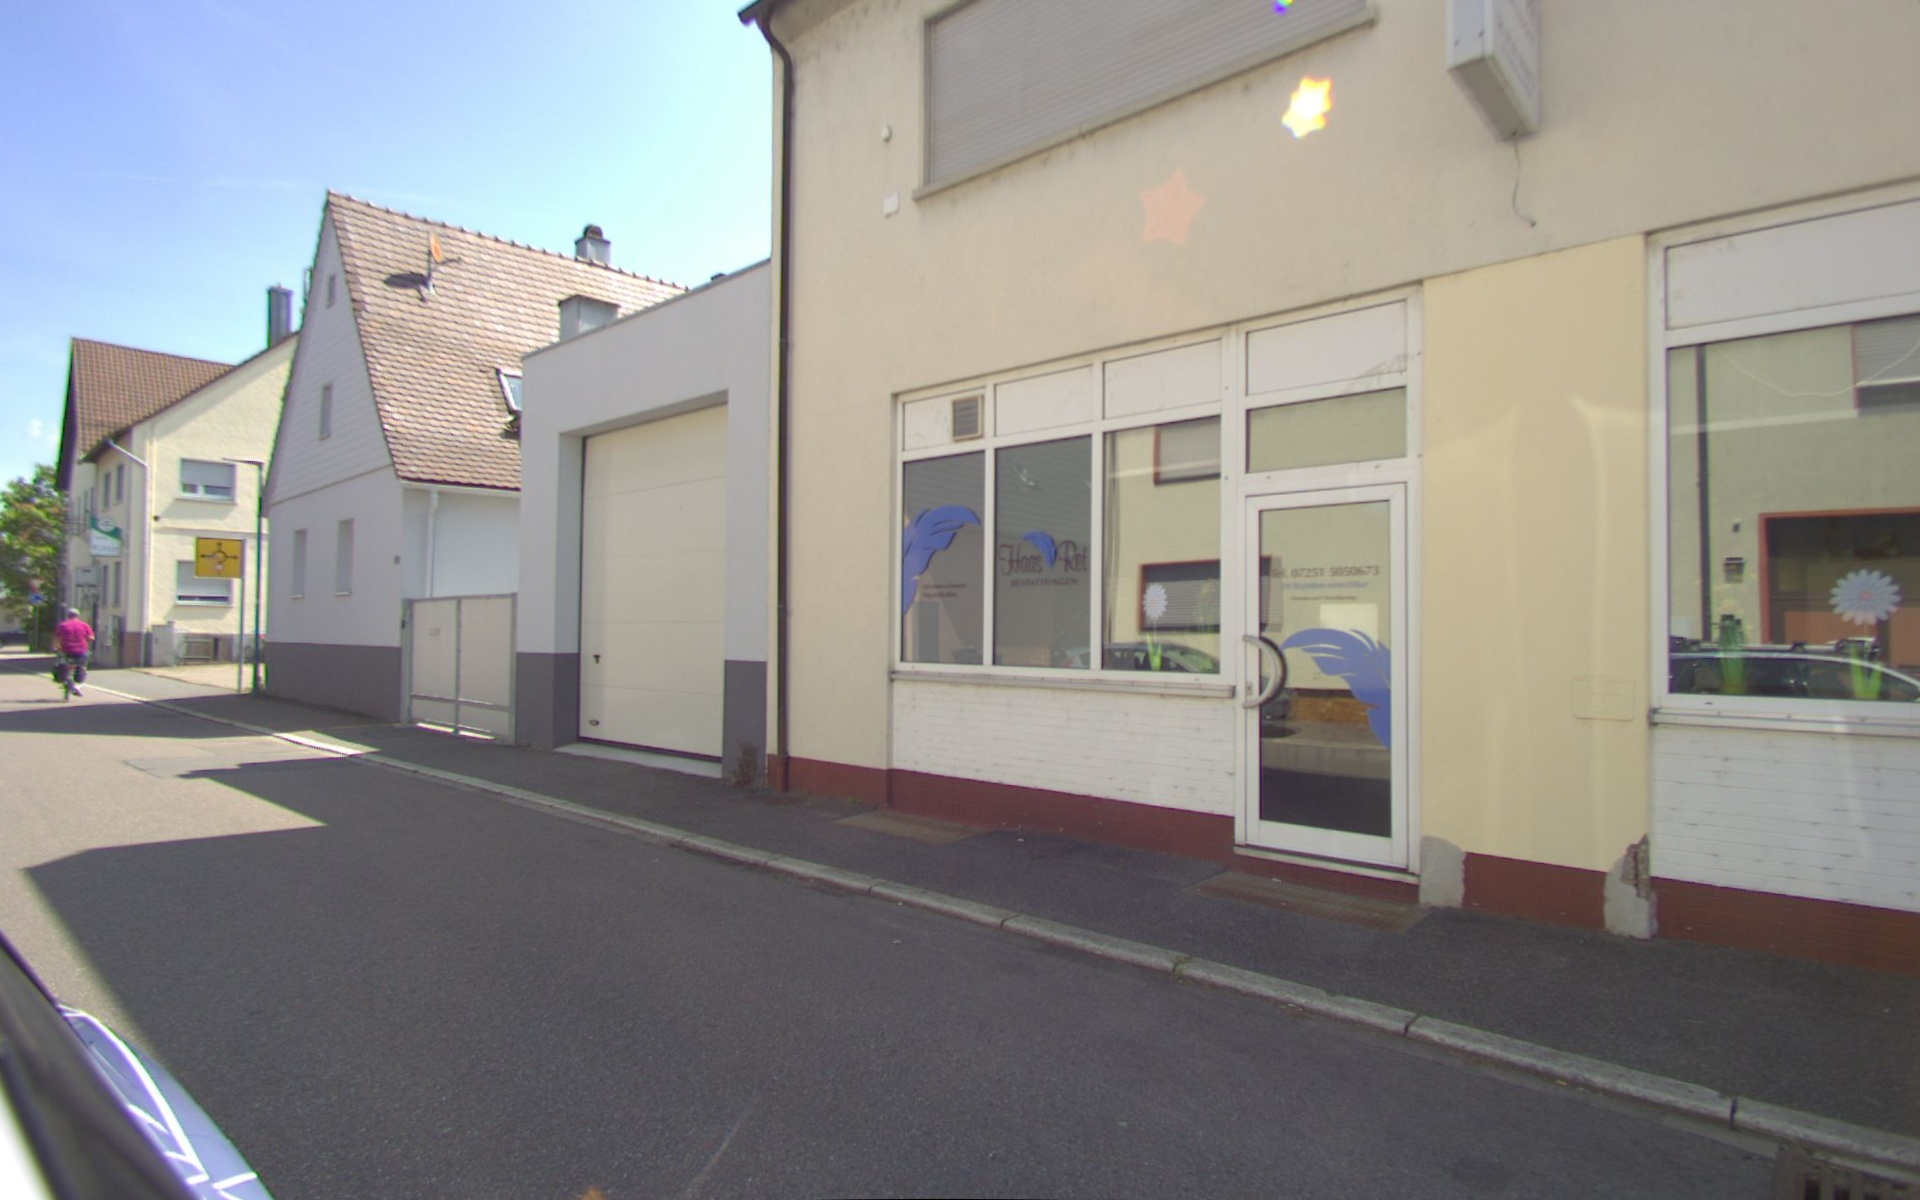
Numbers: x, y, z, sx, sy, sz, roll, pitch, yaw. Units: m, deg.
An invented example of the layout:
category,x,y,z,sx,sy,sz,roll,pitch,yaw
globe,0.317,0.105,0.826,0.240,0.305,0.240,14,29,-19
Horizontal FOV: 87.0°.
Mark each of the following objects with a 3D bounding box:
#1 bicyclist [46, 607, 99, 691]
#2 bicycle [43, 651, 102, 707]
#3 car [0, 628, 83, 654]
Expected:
category,x,y,z,sx,sy,sz,roll,pitch,yaw
bicyclist,-18.066,0.984,20.602,0.738,1.649,0.957,1,-2,-45
bicycle,-18.105,1.582,20.630,0.734,1.055,1.941,4,-4,-45
car,-60.425,2.645,65.992,4.764,1.658,2.004,1,-2,-38
